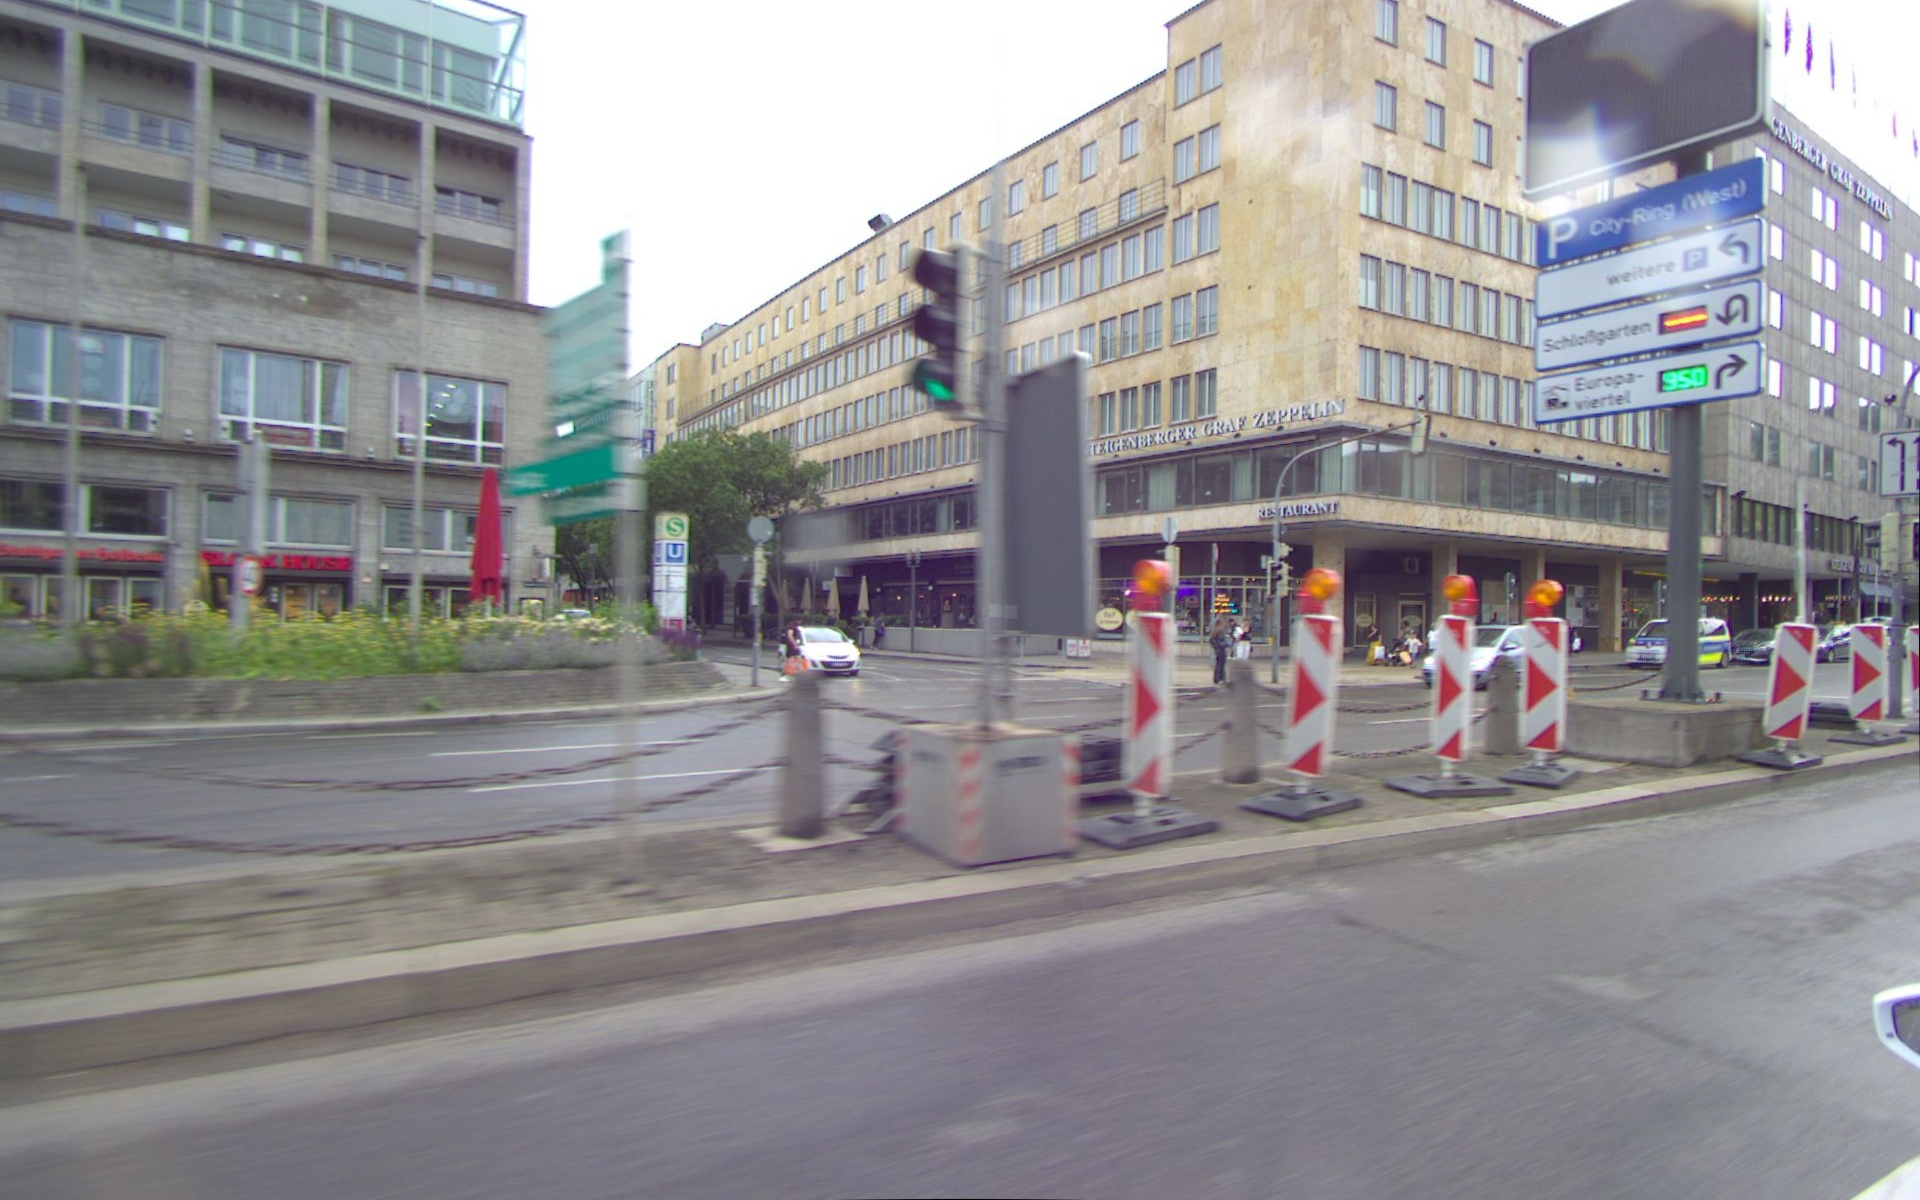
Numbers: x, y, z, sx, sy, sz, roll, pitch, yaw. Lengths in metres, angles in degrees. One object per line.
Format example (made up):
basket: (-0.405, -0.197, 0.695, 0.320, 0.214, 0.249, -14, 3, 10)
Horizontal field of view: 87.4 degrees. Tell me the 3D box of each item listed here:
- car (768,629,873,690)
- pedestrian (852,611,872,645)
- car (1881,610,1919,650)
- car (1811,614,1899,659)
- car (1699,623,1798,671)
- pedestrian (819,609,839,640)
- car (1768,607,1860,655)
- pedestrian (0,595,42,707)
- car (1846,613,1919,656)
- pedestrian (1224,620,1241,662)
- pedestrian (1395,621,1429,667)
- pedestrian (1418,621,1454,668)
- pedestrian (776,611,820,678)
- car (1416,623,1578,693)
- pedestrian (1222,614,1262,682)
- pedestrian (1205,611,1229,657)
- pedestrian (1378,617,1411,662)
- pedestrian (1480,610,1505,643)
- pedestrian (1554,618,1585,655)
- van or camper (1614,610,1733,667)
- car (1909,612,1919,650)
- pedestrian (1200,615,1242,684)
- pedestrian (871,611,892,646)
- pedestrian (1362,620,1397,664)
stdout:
car: (-4.291, 1.730, 30.468, 1.697, 1.692, 3.965, 1, -1, -32)
pedestrian: (-4.973, 1.419, 50.941, 0.826, 1.694, 0.698, 1, -1, -31)
car: (49.965, 1.562, 52.288, 3.954, 2.040, 1.983, 1, -1, -31)
car: (42.311, 1.720, 47.482, 4.116, 2.040, 1.983, 1, -1, -31)
car: (32.627, 1.903, 41.552, 3.954, 1.862, 1.983, 1, -1, -31)
pedestrian: (-7.220, 1.352, 55.370, 0.828, 1.694, 0.873, 1, -1, -28)
car: (37.966, 1.383, 44.639, 3.954, 2.040, 1.983, 1, -1, -31)
pedestrian: (-15.233, 0.803, 15.959, 0.783, 1.757, 0.664, 0, -1, -27)
car: (45.760, 1.694, 49.574, 3.954, 2.040, 1.983, 1, -1, -31)
pedestrian: (11.101, 1.666, 40.925, 0.637, 1.666, 0.697, 0, -1, 18)
pedestrian: (15.651, 1.523, 34.773, 0.895, 1.578, 0.718, 1, -1, -30)
pedestrian: (16.199, 1.511, 34.188, 0.884, 1.578, 0.718, 1, -1, -30)
pedestrian: (-4.192, 1.145, 25.999, 0.918, 1.694, 0.698, 1, -1, -31)
car: (13.542, 1.403, 25.281, 4.179, 1.630, 1.759, 1, -1, -32)
pedestrian: (7.185, 1.203, 25.598, 0.686, 1.694, 0.758, 1, -1, -18)
pedestrian: (10.445, 1.378, 40.840, 0.687, 1.827, 0.757, -1, -1, 40)
pedestrian: (15.600, 1.412, 36.045, 0.884, 1.578, 0.718, 1, -1, -30)
pedestrian: (25.100, 1.236, 47.367, 0.708, 1.546, 0.791, 1, -1, -30)
pedestrian: (25.714, 1.520, 42.356, 0.905, 1.546, 0.791, 1, -1, -30)
van or camper: (27.048, 1.417, 38.021, 4.911, 2.040, 1.983, 1, -1, -33)
car: (54.287, 1.704, 55.293, 3.954, 2.040, 1.983, 1, -1, -31)
pedestrian: (6.548, 1.222, 25.200, 0.692, 1.694, 0.832, 1, -1, -18)
pedestrian: (-3.828, 1.379, 49.015, 0.826, 1.694, 0.698, 1, -1, -31)
pedestrian: (15.408, 1.531, 36.892, 0.993, 1.578, 0.718, 1, -1, -30)
